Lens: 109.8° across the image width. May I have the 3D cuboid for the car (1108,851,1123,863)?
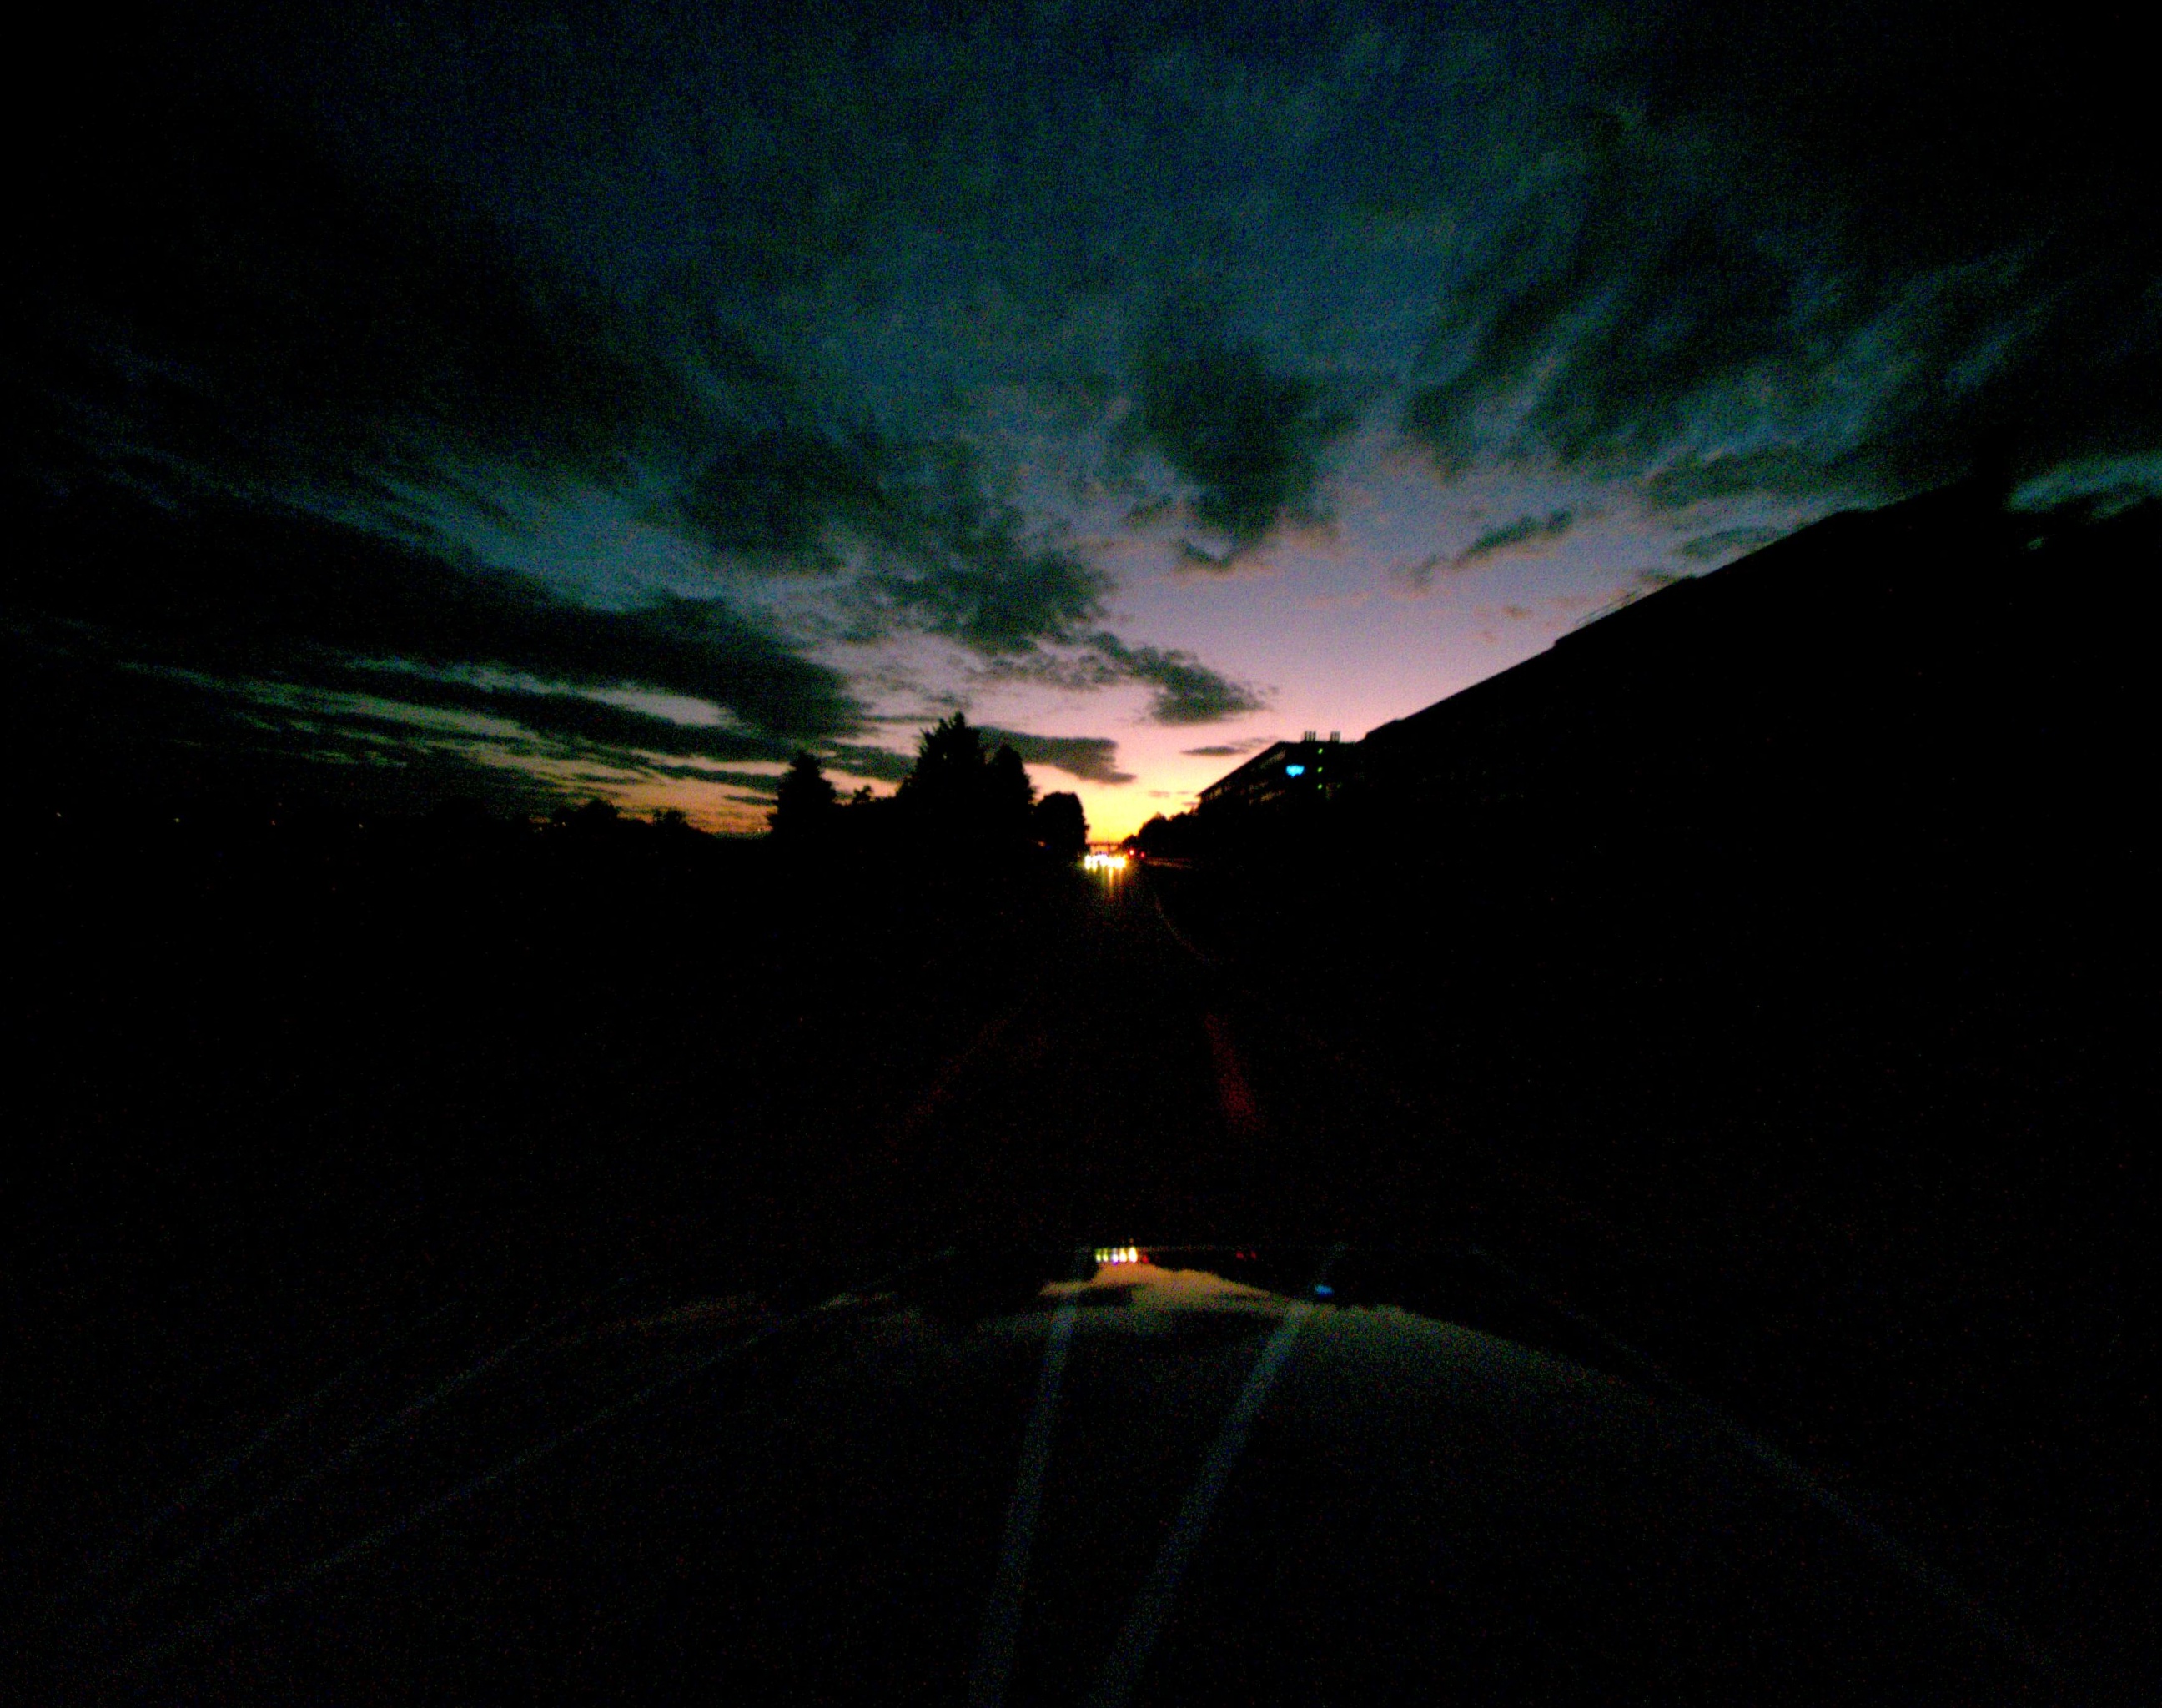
[{"bbox_3d":[4.387,0.373,96.441,1.755,1.447,3.804,0,0,3],"label":"car"}]

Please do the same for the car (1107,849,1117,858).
[{"bbox_3d":[7.115,-0.172,172.870,1.861,2.002,4.002,-2,0,8],"label":"car"}]

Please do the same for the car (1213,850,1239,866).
[{"bbox_3d":[14.683,0.370,77.016,1.774,1.631,4.660,0,0,0],"label":"car"}]

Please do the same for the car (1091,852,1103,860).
[{"bbox_3d":[3.334,0.326,155.637,1.997,1.574,4.002,-2,0,9],"label":"car"}]
